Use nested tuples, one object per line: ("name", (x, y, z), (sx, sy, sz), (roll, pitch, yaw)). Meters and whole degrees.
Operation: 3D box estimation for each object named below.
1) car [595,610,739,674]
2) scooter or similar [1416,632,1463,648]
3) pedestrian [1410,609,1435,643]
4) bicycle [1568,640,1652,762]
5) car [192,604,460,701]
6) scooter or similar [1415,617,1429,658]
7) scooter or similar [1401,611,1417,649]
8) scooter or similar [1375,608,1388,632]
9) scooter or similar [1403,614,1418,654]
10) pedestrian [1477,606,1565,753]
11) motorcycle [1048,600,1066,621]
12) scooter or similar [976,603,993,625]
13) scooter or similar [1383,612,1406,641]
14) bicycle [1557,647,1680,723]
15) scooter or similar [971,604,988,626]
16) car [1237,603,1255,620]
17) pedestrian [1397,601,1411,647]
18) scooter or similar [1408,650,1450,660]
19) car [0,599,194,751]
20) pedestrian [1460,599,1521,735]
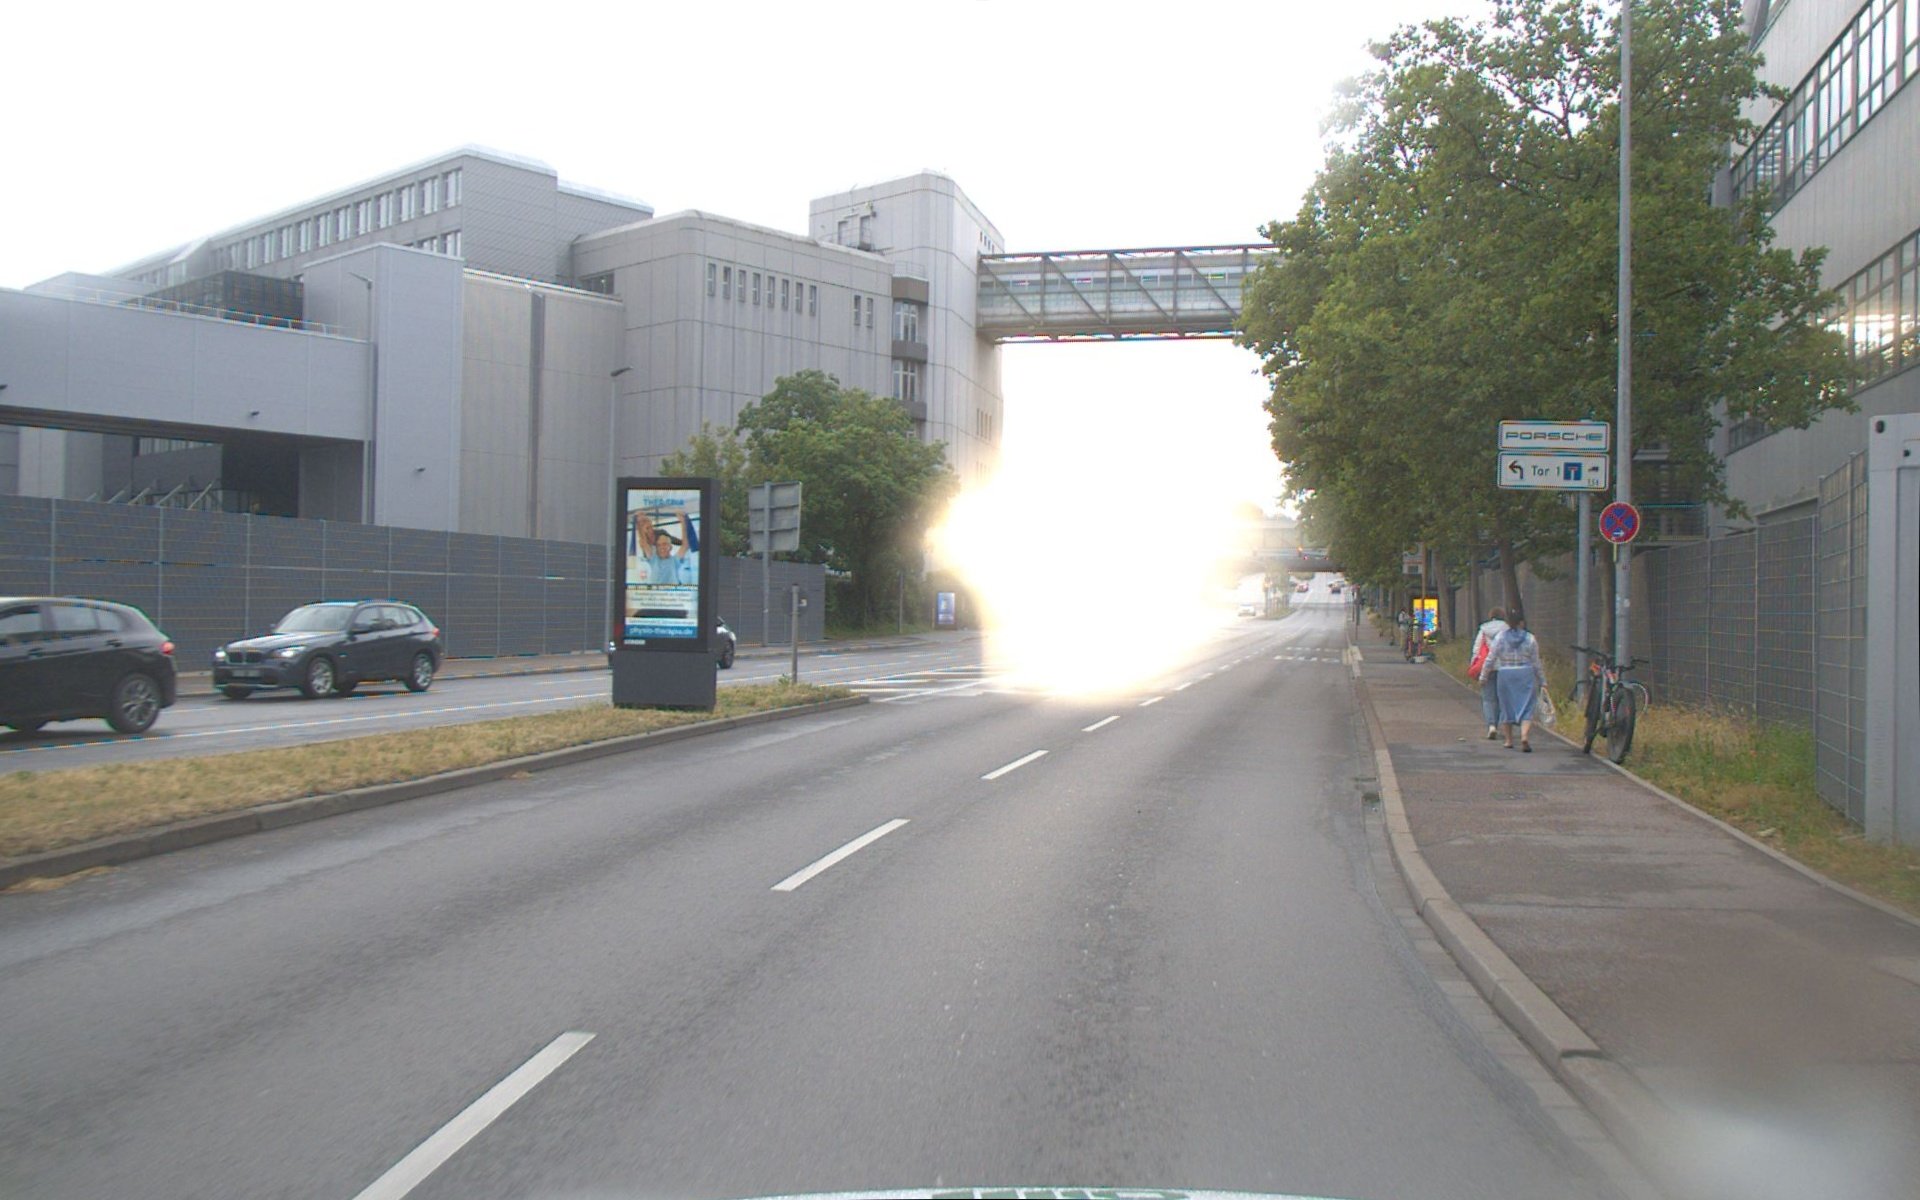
("car", (-6.952, 0.972, 39.789), (1.745, 1.409, 4.550), (-2, 0, 13))
("scooter or similar", (17.296, 1.441, 59.670), (1.532, 0.528, 0.642), (0, 0, 30))
("pedestrian", (18.393, 1.026, 65.804), (0.931, 1.340, 0.686), (0, 0, 19))
("bicycle", (6.691, 1.003, 17.079), (0.334, 1.138, 1.974), (0, 0, 7))
("car", (-10.424, 0.815, 27.598), (1.745, 1.480, 4.563), (-1, 0, 17))
("scooter or similar", (14.236, 1.156, 50.949), (0.380, 1.248, 1.074), (0, 0, 13))
("scooter or similar", (15.959, 1.070, 58.838), (0.492, 1.315, 1.435), (0, 0, 13))
("scooter or similar", (24.394, 1.144, 95.712), (0.596, 1.390, 1.922), (0, 0, 18))
("scooter or similar", (14.787, 1.100, 54.292), (0.424, 1.292, 1.195), (0, 0, 13))
("pedestrian", (6.096, 0.843, 18.027), (0.813, 1.547, 0.842), (0, 0, 13))
("motorcycle", (7.324, 0.762, 125.174), (0.938, 1.583, 3.302), (0, 0, 11))
("scooter or similar", (1.447, 0.828, 98.466), (0.487, 1.274, 1.922), (0, 0, 18))
("scooter or similar", (19.425, 1.192, 73.916), (0.685, 1.266, 1.920), (0, 0, 24))
("bicycle", (9.105, 1.157, 22.929), (0.505, 0.970, 1.687), (1, 0, -26))
("scooter or similar", (1.144, 0.860, 96.472), (0.513, 1.274, 1.800), (0, 0, 18))
("car", (31.058, 1.203, 179.795), (1.951, 1.803, 4.003), (0, 0, 10))
("pedestrian", (16.677, 0.892, 62.150), (0.470, 1.696, 0.662), (0, 0, 11))
("scooter or similar", (14.014, 1.647, 49.418), (0.640, 0.251, 1.521), (0, 0, -9))
("car", (-10.073, 0.731, 16.643), (1.745, 1.465, 4.397), (1, 0, 19))
("pedestrian", (6.506, 0.803, 20.294), (0.694, 1.620, 0.841), (0, 0, 18))
